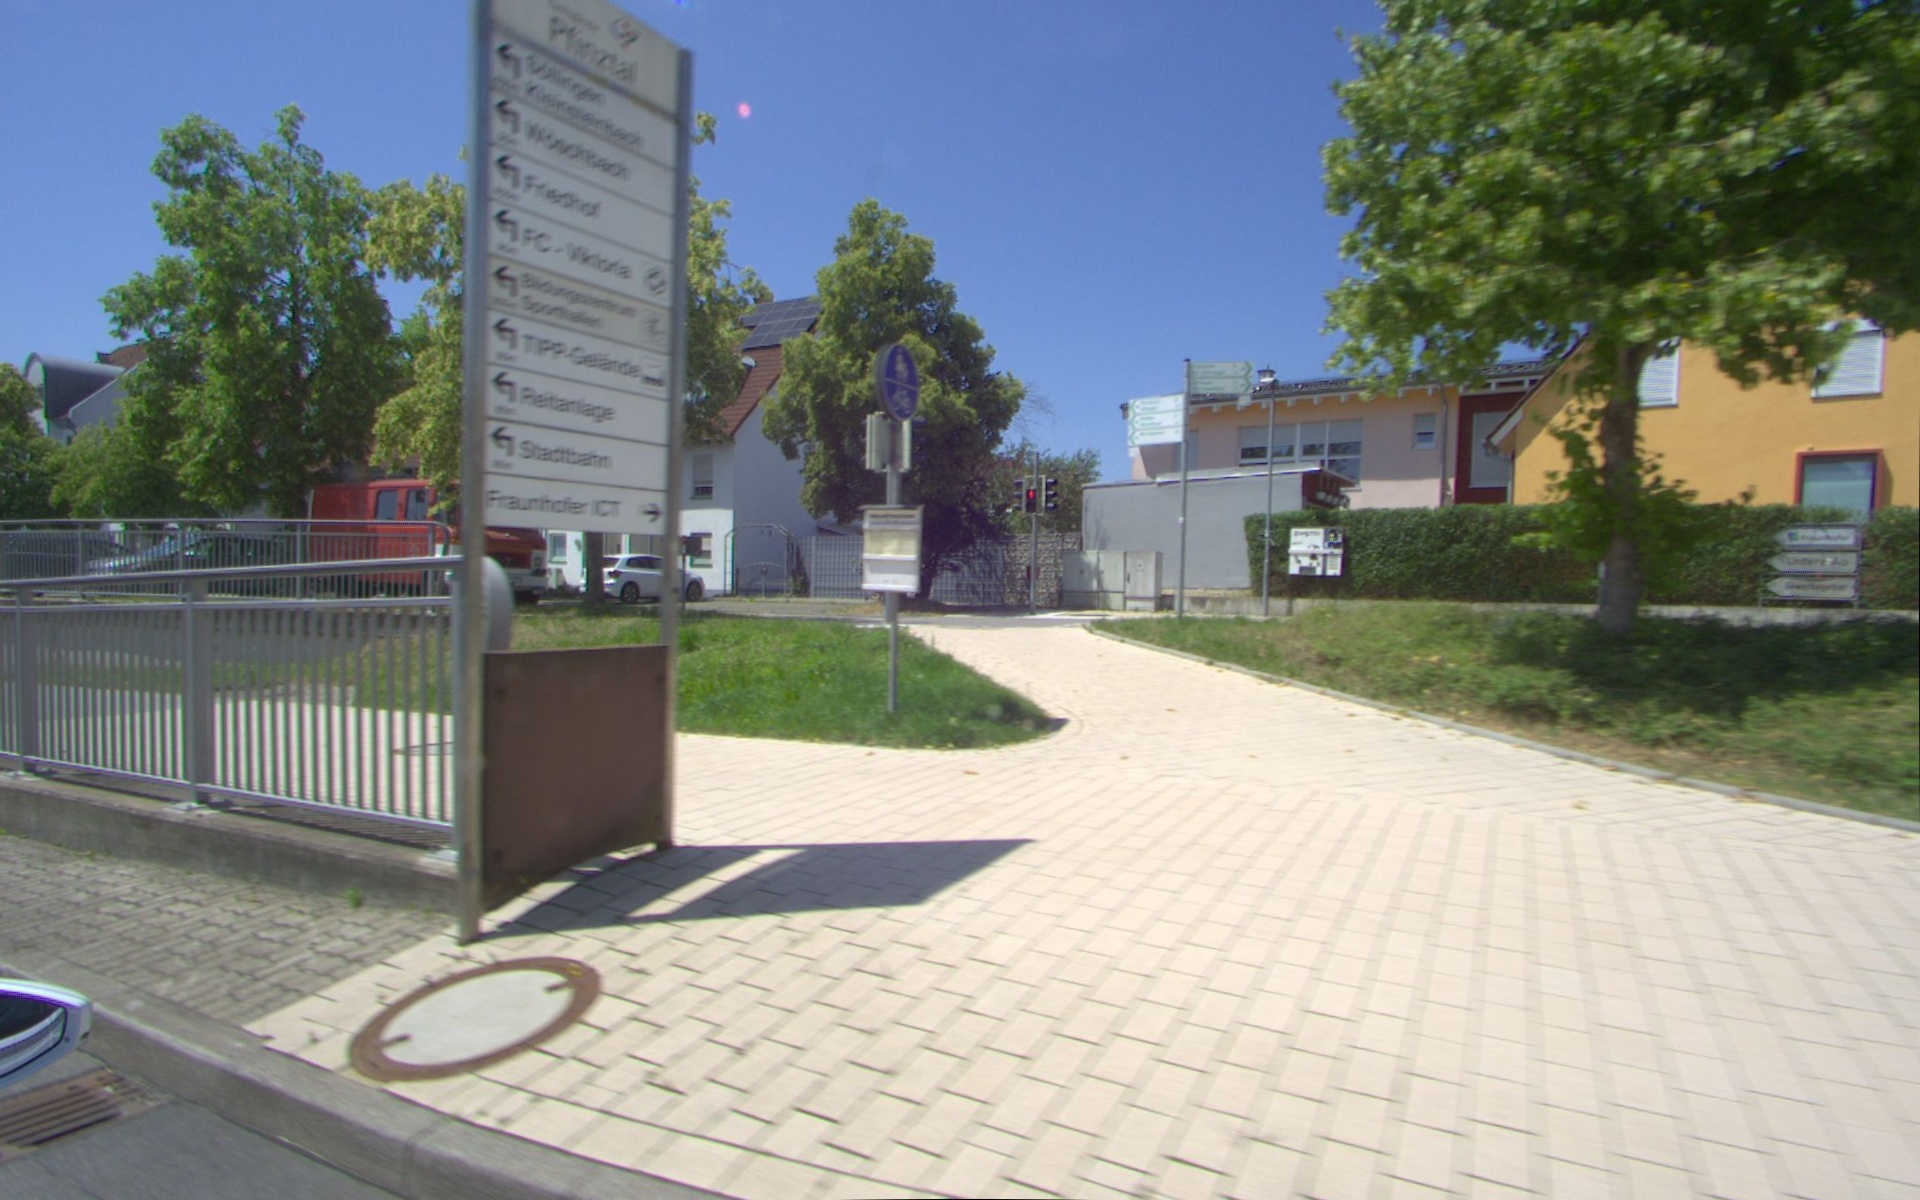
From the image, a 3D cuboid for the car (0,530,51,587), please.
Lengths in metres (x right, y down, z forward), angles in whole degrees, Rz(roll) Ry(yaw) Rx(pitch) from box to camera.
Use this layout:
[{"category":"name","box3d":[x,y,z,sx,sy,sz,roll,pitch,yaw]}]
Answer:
[{"category":"car","box3d":[-28.865,-1.222,28.471,1.661,1.617,4.197,2,1,31]}]

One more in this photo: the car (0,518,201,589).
[{"category":"car","box3d":[-20.866,-1.048,23.802,1.661,1.519,4.197,2,1,31]}]

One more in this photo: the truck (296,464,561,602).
[{"category":"truck","box3d":[-10.403,-1.212,19.502,5.179,2.366,2.129,2,1,30]}]

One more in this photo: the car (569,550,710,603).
[{"category":"car","box3d":[-9.641,-0.734,30.426,1.731,1.498,3.929,2,3,30]}]

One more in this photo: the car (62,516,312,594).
[{"category":"car","box3d":[-16.674,-0.913,21.816,1.722,1.519,3.980,2,1,31]}]

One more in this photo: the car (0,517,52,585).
[{"category":"car","box3d":[-31.053,-1.544,30.195,1.959,2.091,5.103,2,1,31]}]
